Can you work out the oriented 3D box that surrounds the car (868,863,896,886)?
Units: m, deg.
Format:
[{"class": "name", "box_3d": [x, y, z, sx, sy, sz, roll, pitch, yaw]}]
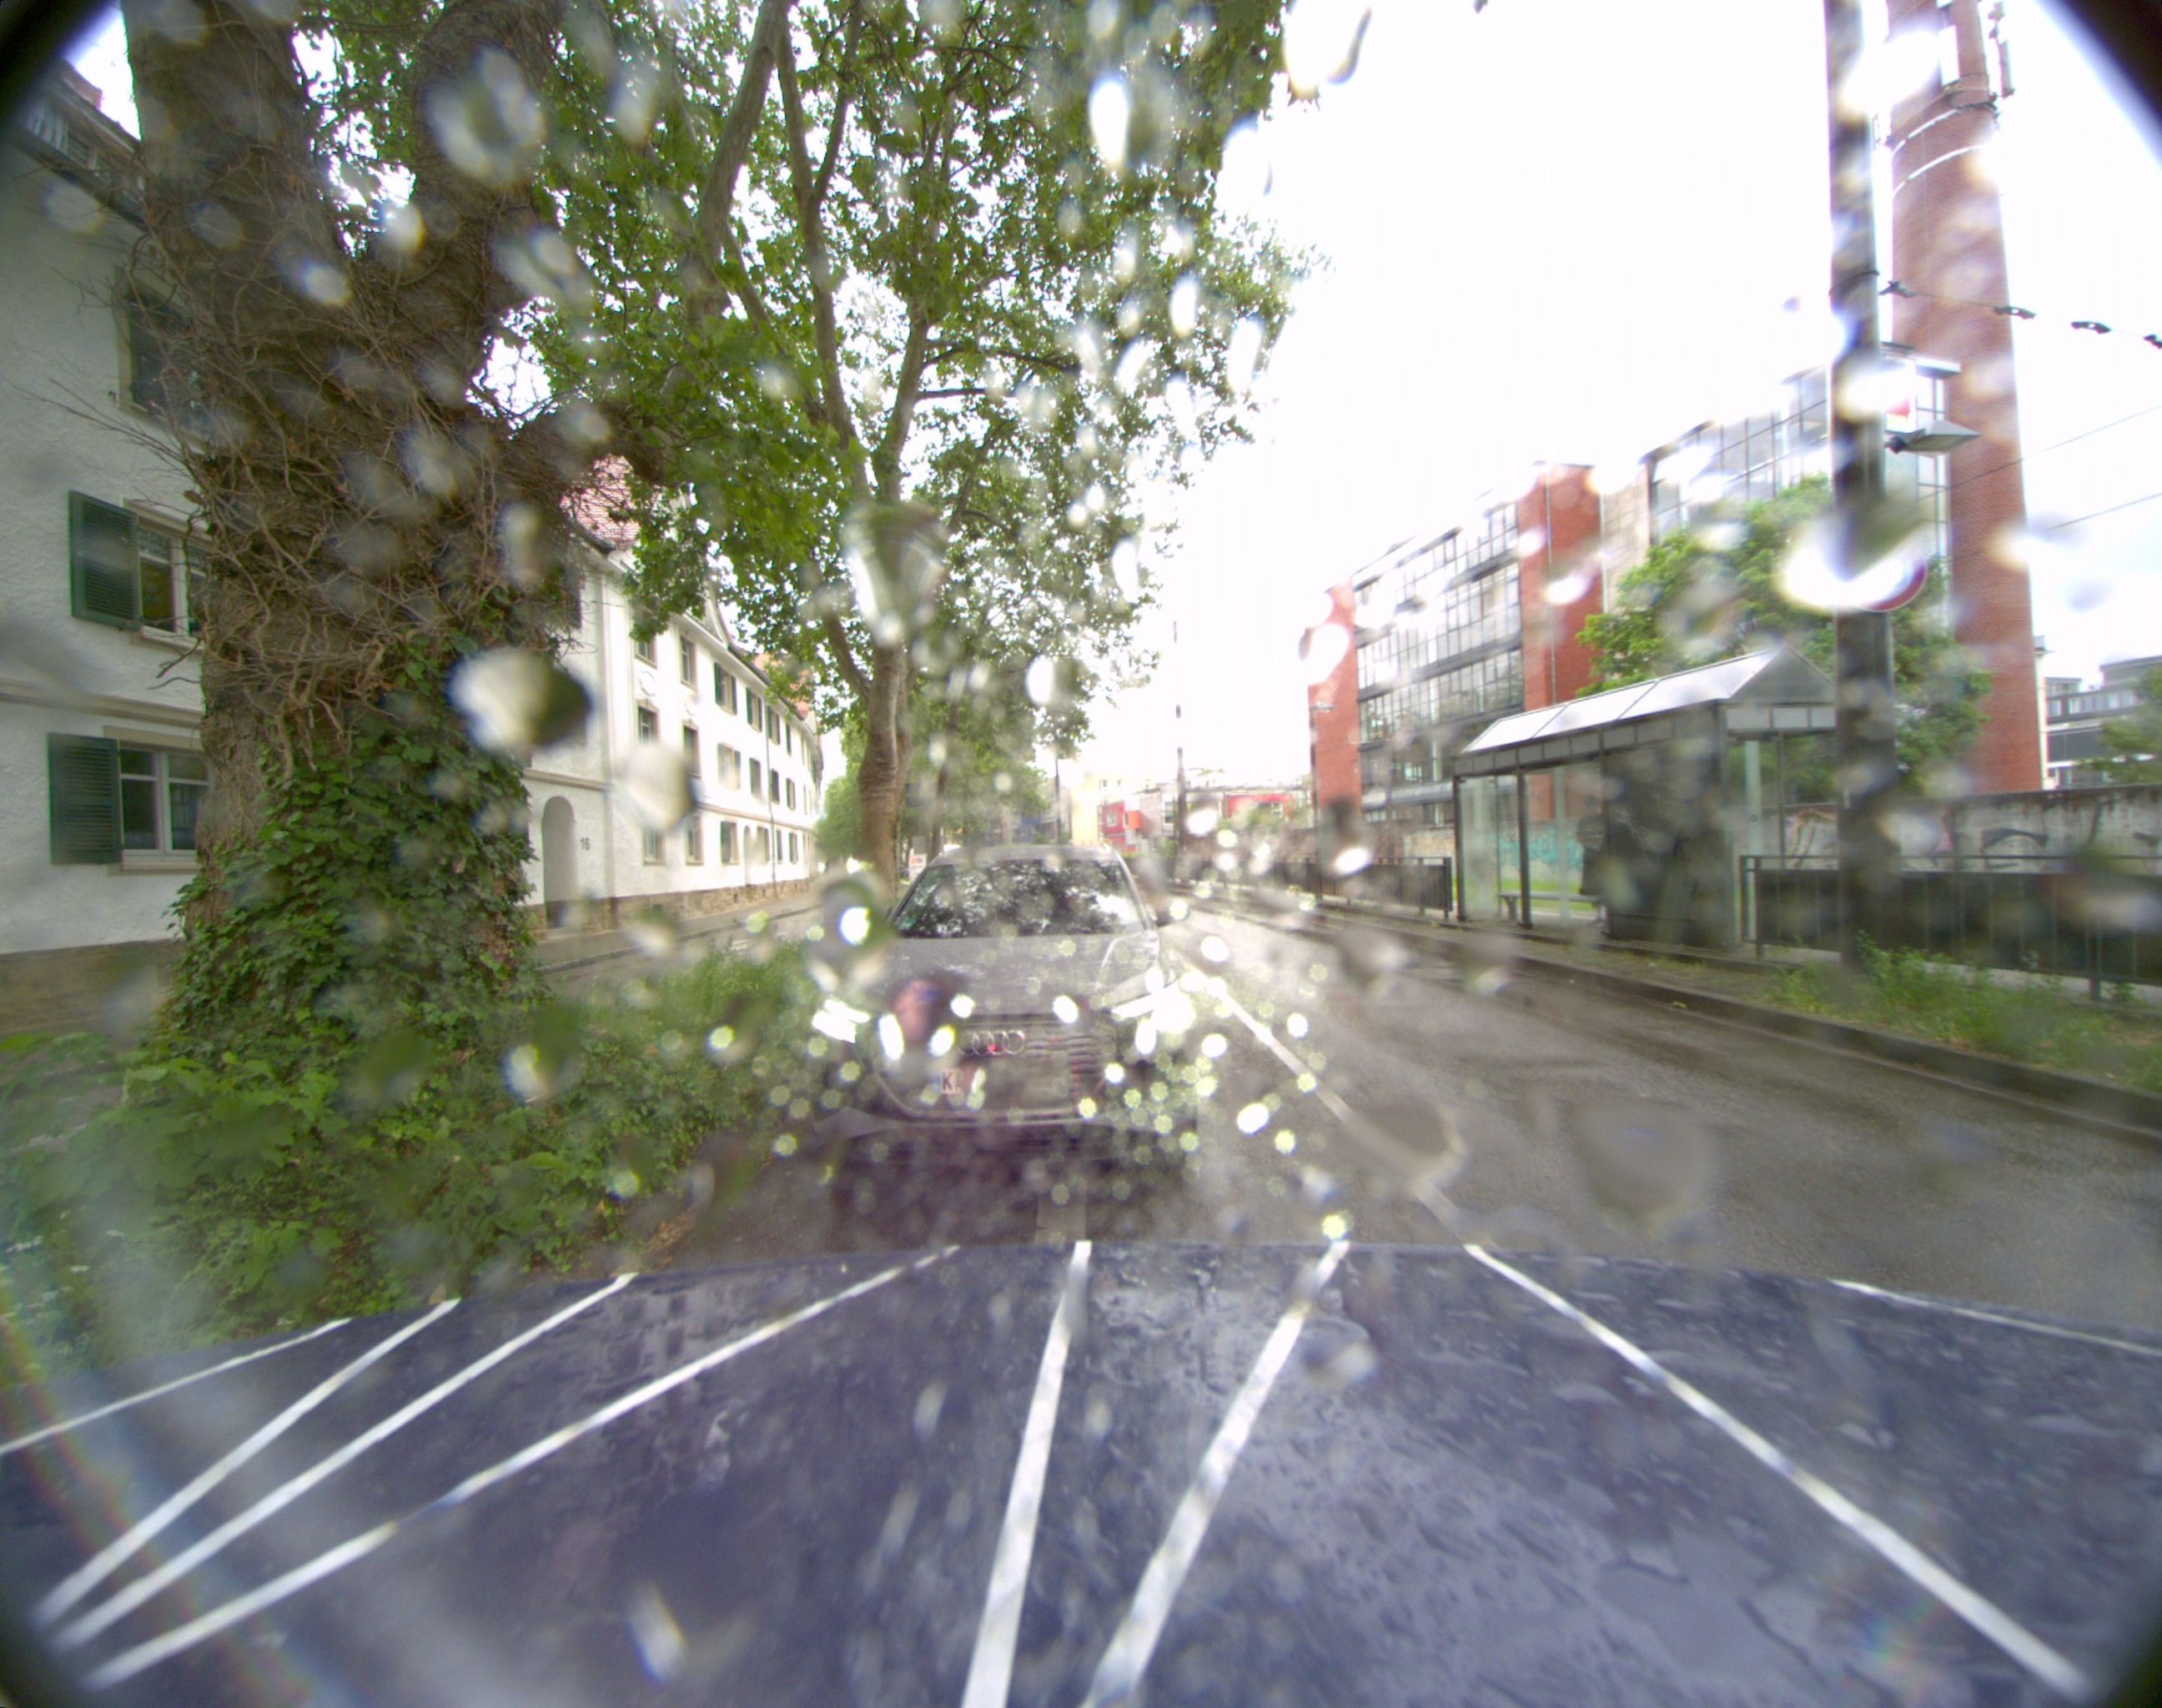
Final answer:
[{"class": "car", "box_3d": [-14.879, 1.475, 56.759, 1.833, 1.517, 3.994, -2, 1, -15]}]

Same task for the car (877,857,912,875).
[{"class": "car", "box_3d": [-23.219, 1.482, 94.667, 4.002, 2.002, 1.997, -2, 0, -17]}]

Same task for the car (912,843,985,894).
[{"class": "car", "box_3d": [-6.592, 0.676, 37.251, 2.199, 2.250, 5.401, -3, 0, -24]}]

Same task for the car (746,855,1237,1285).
[{"class": "car", "box_3d": [-0.415, 0.871, 5.130, 1.917, 1.632, 4.106, -2, 0, -2]}]

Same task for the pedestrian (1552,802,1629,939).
[{"class": "pedestrian", "box_3d": [6.731, 0.215, 10.056, 0.629, 1.738, 0.564, -2, 1, 9]}]

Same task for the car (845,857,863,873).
[{"class": "car", "box_3d": [-30.617, 1.476, 102.535, 2.002, 2.001, 3.993, 3, -1, -20]}]

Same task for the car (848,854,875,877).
[{"class": "car", "box_3d": [-20.561, 1.078, 71.063, 2.002, 2.001, 3.993, 3, -1, -20]}]

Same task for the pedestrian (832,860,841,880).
[{"class": "pedestrian", "box_3d": [-23.069, 1.481, 71.705, 0.674, 1.811, 0.678, -3, 1, -18]}]

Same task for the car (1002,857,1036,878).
[{"class": "car", "box_3d": [-4.770, 0.989, 58.368, 1.721, 1.451, 3.742, -2, 1, -18]}]
